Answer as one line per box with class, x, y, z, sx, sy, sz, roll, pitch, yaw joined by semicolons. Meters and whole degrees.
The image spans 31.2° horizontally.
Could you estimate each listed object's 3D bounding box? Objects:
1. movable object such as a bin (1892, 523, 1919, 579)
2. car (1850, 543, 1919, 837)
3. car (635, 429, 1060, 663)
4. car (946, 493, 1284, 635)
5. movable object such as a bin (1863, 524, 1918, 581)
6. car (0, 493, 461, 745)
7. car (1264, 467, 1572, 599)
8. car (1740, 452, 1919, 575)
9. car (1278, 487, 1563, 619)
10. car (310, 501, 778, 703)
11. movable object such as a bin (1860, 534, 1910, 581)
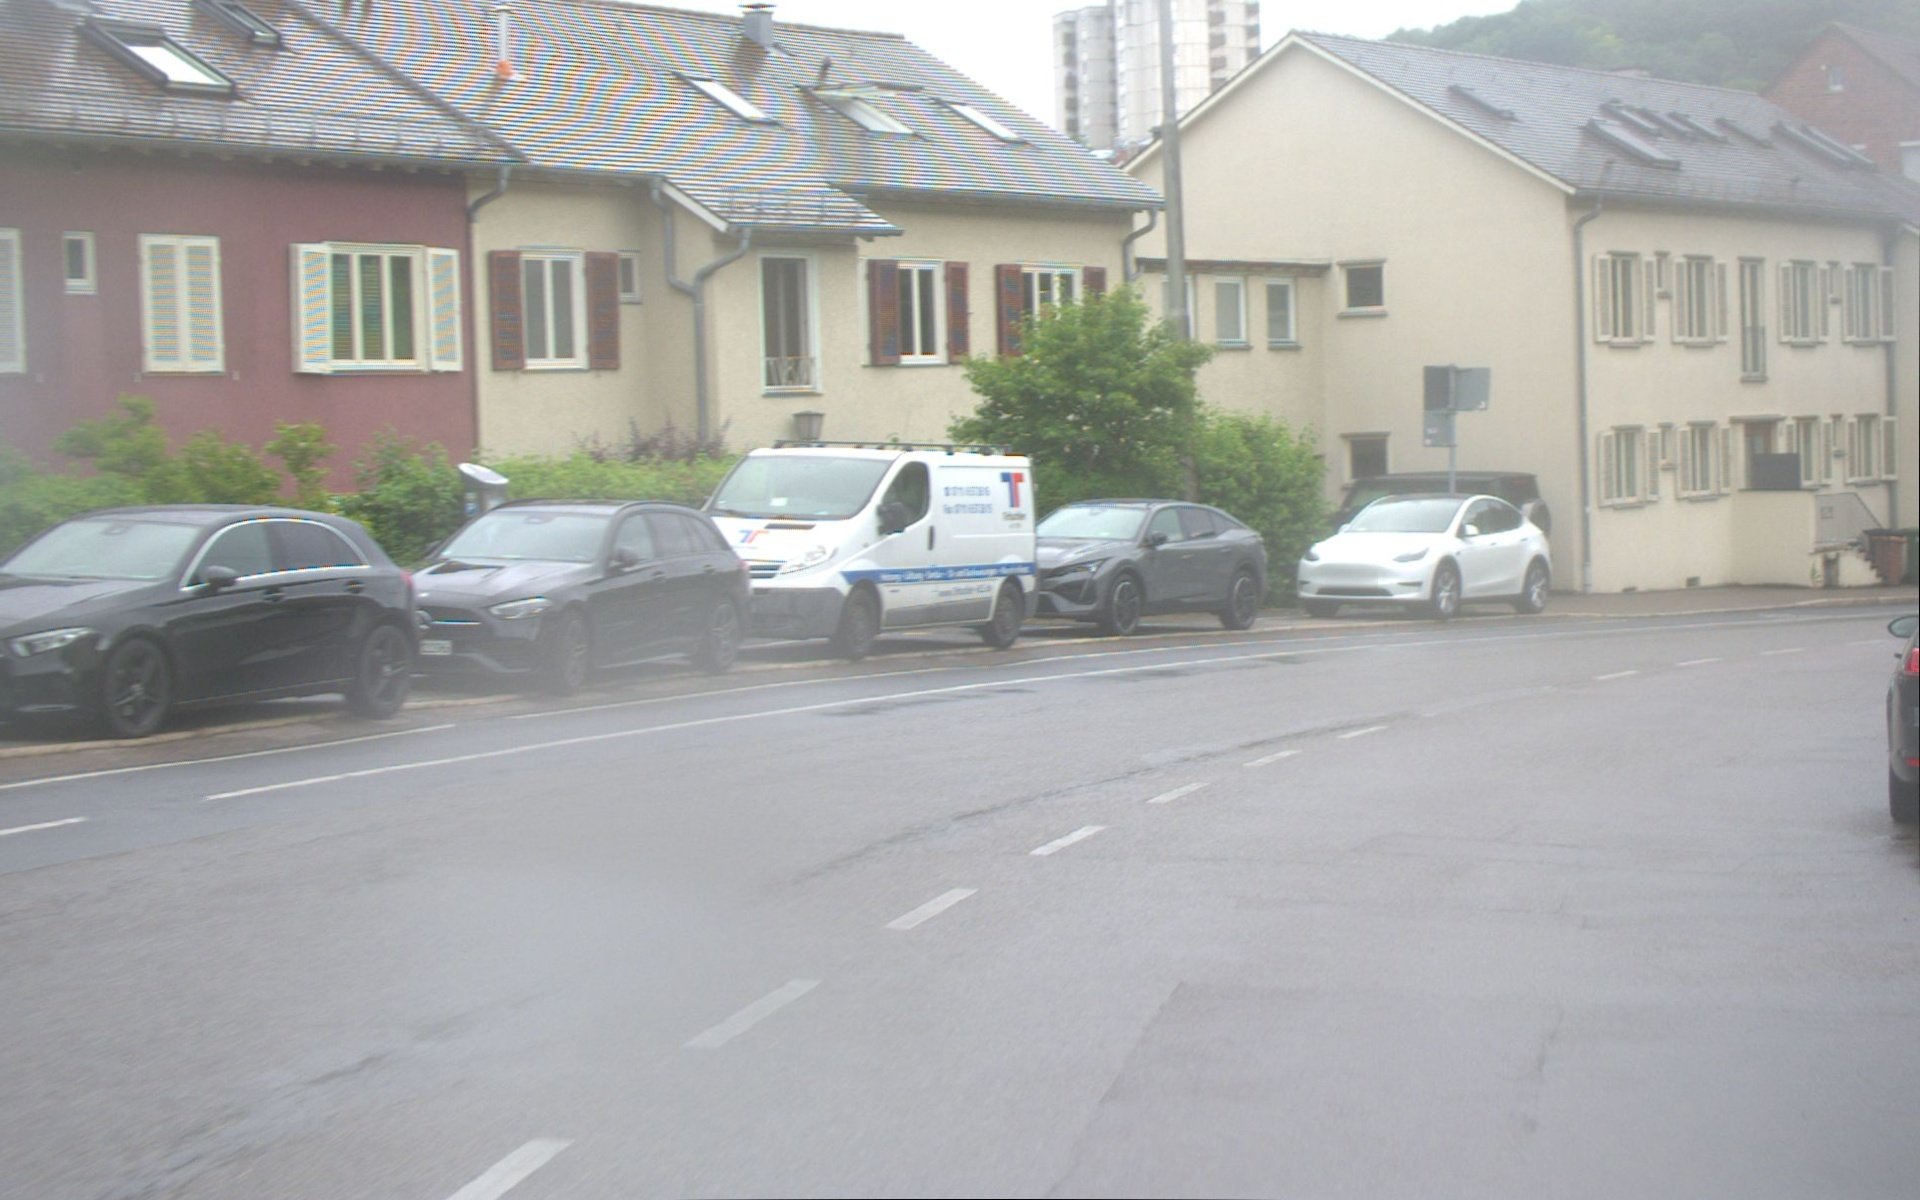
movable object such as a bin;18.178;-0.924;65.093;0.783;1.043;0.736;2;2;37
car;6.119;0.433;19.212;1.680;1.478;4.197;1;2;22
car;-0.977;-0.562;33.155;1.851;2.071;5.013;1;2;28
car;1.803;-0.443;38.483;1.811;1.471;4.514;2;2;32
movable object such as a bin;17.434;-0.889;64.429;0.783;1.043;0.707;2;2;37
car;-5.288;0.040;22.585;1.810;1.471;4.517;1;2;25
car;7.311;-1.079;55.000;4.497;2.006;1.884;1;3;33
car;20.067;-1.815;72.673;6.669;2.545;2.163;1;1;37
car;6.131;-0.652;45.332;1.933;1.625;4.669;2;2;32
car;-3.245;-0.055;27.798;1.810;1.471;4.517;1;2;22
movable object such as a bin;17.134;-0.791;63.697;0.674;0.856;0.707;2;2;37
